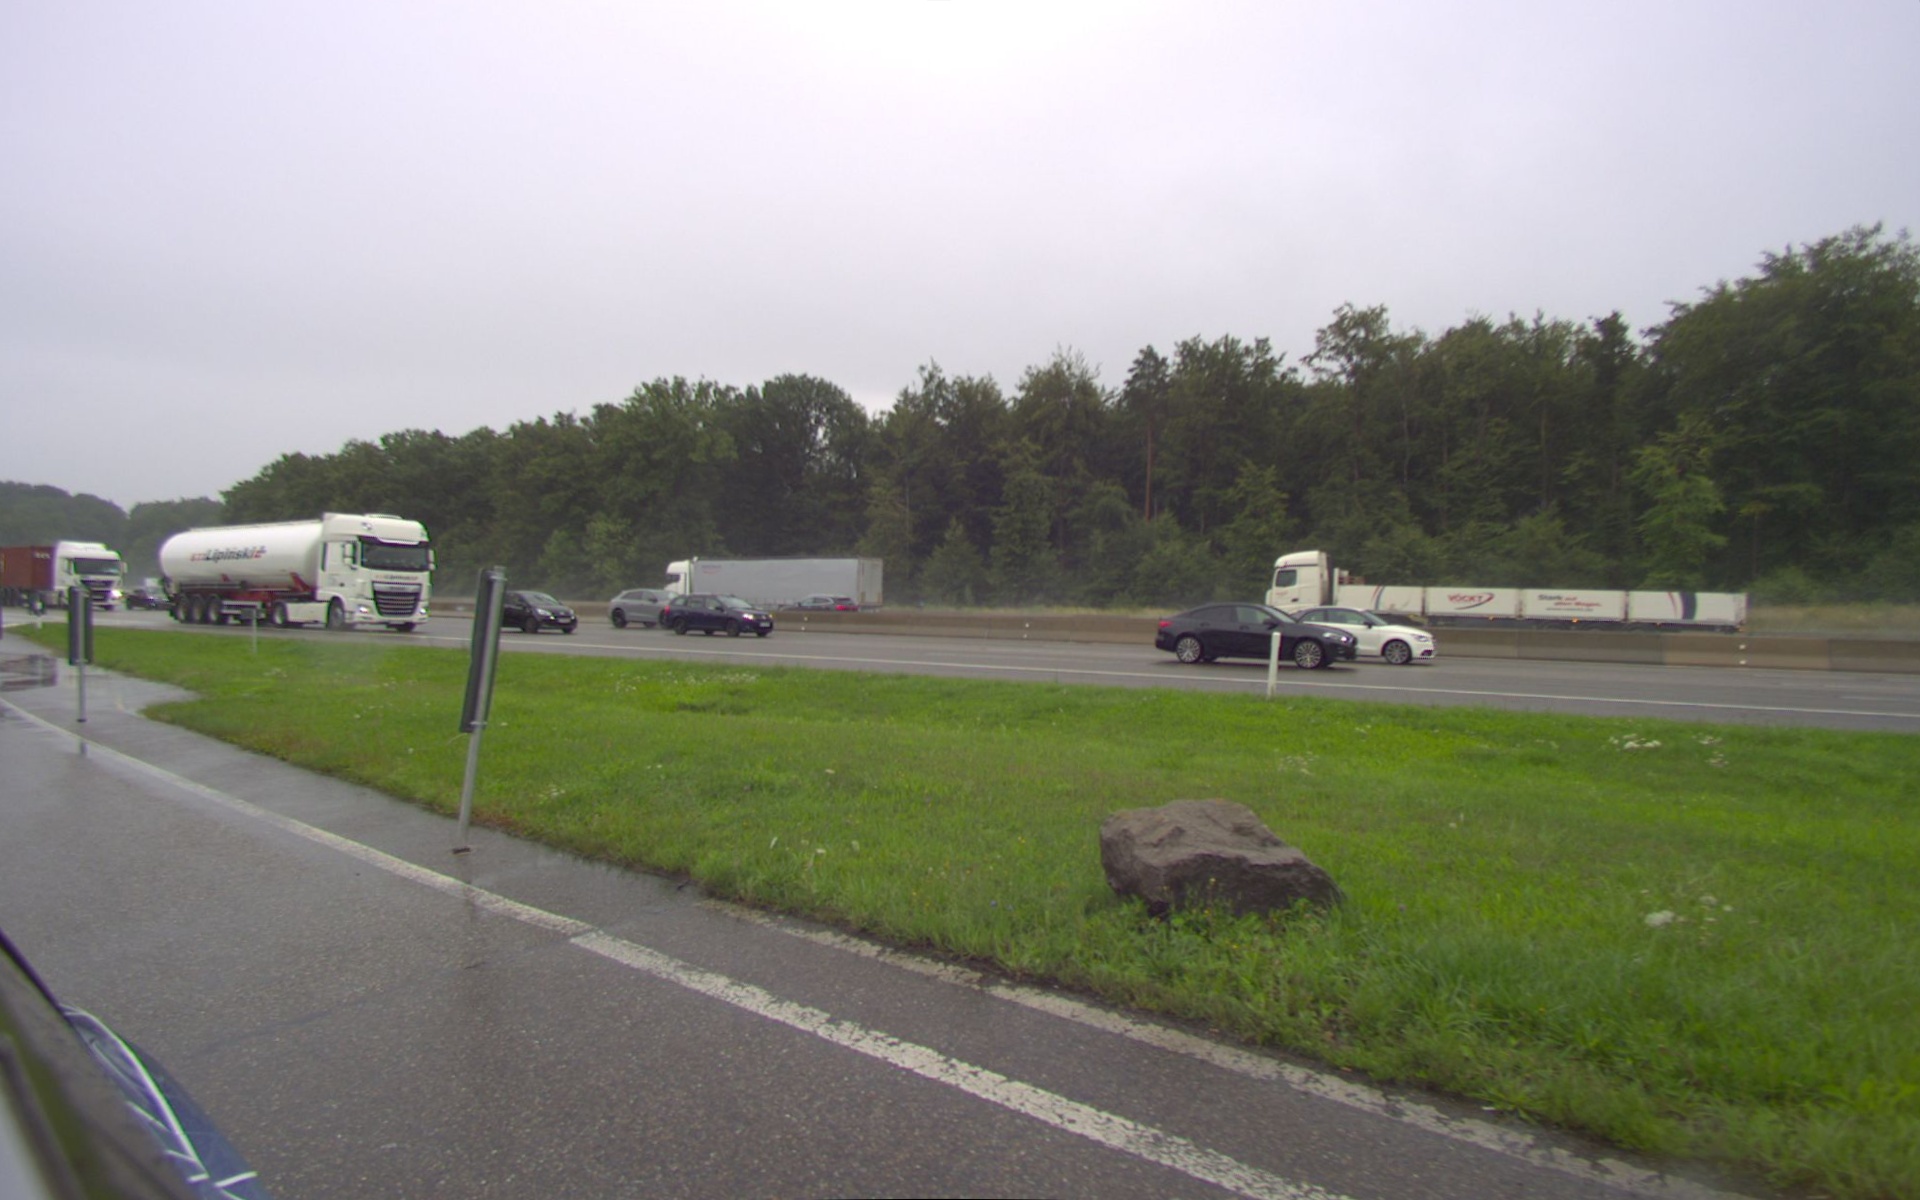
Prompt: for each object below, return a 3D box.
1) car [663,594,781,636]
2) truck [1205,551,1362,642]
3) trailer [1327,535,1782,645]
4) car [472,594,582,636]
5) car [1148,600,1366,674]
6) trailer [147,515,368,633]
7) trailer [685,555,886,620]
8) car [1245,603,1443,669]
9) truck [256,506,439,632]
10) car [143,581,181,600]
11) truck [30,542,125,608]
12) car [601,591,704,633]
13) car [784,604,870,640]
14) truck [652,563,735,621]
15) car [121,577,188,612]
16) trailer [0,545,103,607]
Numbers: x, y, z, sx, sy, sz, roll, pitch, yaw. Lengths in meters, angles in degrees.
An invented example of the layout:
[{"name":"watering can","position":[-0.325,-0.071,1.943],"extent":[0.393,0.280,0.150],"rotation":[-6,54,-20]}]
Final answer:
[{"name":"car","position":[-8.632,0.525,36.607],"extent":[4.109,1.425,1.804],"rotation":[0,-1,32]},{"name":"truck","position":[13.967,-0.149,43.769],"extent":[5.969,3.697,2.604],"rotation":[-1,2,31]},{"name":"trailer","position":[22.033,-0.288,38.977],"extent":[14.616,3.707,2.597],"rotation":[-1,2,31]},{"name":"car","position":[-15.469,0.516,36.099],"extent":[3.991,1.383,1.802],"rotation":[1,0,35]},{"name":"car","position":[6.745,0.779,23.076],"extent":[4.483,1.492,1.868],"rotation":[1,0,29]},{"name":"trailer","position":[-27.109,-0.896,38.789],"extent":[11.003,4.056,2.741],"rotation":[0,-1,32]},{"name":"trailer","position":[-11.268,-0.707,63.902],"extent":[14.008,3.564,2.705],"rotation":[-1,3,31]},{"name":"car","position":[9.819,0.862,25.961],"extent":[4.488,1.492,1.865],"rotation":[1,0,32]},{"name":"truck","position":[-21.395,-0.993,35.281],"extent":[6.485,4.039,2.730],"rotation":[0,-1,31]},{"name":"car","position":[-90.030,-1.123,114.162],"extent":[4.469,2.028,1.979],"rotation":[2,3,32]},{"name":"truck","position":[-51.573,-1.489,59.145],"extent":[5.309,3.683,2.669],"rotation":[1,3,33]},{"name":"car","position":[-13.339,0.507,43.851],"extent":[4.389,1.681,1.804],"rotation":[1,-1,32]},{"name":"car","position":[-6.311,1.067,48.058],"extent":[3.706,1.374,1.632],"rotation":[-3,4,30]},{"name":"truck","position":[-17.867,-0.532,67.892],"extent":[4.745,3.560,2.695],"rotation":[-1,3,31]},{"name":"car","position":[-49.123,-0.358,61.695],"extent":[4.098,2.029,1.979],"rotation":[1,1,32]},{"name":"trailer","position":[-58.540,-1.546,63.644],"extent":[15.079,3.530,2.663],"rotation":[1,3,33]}]
